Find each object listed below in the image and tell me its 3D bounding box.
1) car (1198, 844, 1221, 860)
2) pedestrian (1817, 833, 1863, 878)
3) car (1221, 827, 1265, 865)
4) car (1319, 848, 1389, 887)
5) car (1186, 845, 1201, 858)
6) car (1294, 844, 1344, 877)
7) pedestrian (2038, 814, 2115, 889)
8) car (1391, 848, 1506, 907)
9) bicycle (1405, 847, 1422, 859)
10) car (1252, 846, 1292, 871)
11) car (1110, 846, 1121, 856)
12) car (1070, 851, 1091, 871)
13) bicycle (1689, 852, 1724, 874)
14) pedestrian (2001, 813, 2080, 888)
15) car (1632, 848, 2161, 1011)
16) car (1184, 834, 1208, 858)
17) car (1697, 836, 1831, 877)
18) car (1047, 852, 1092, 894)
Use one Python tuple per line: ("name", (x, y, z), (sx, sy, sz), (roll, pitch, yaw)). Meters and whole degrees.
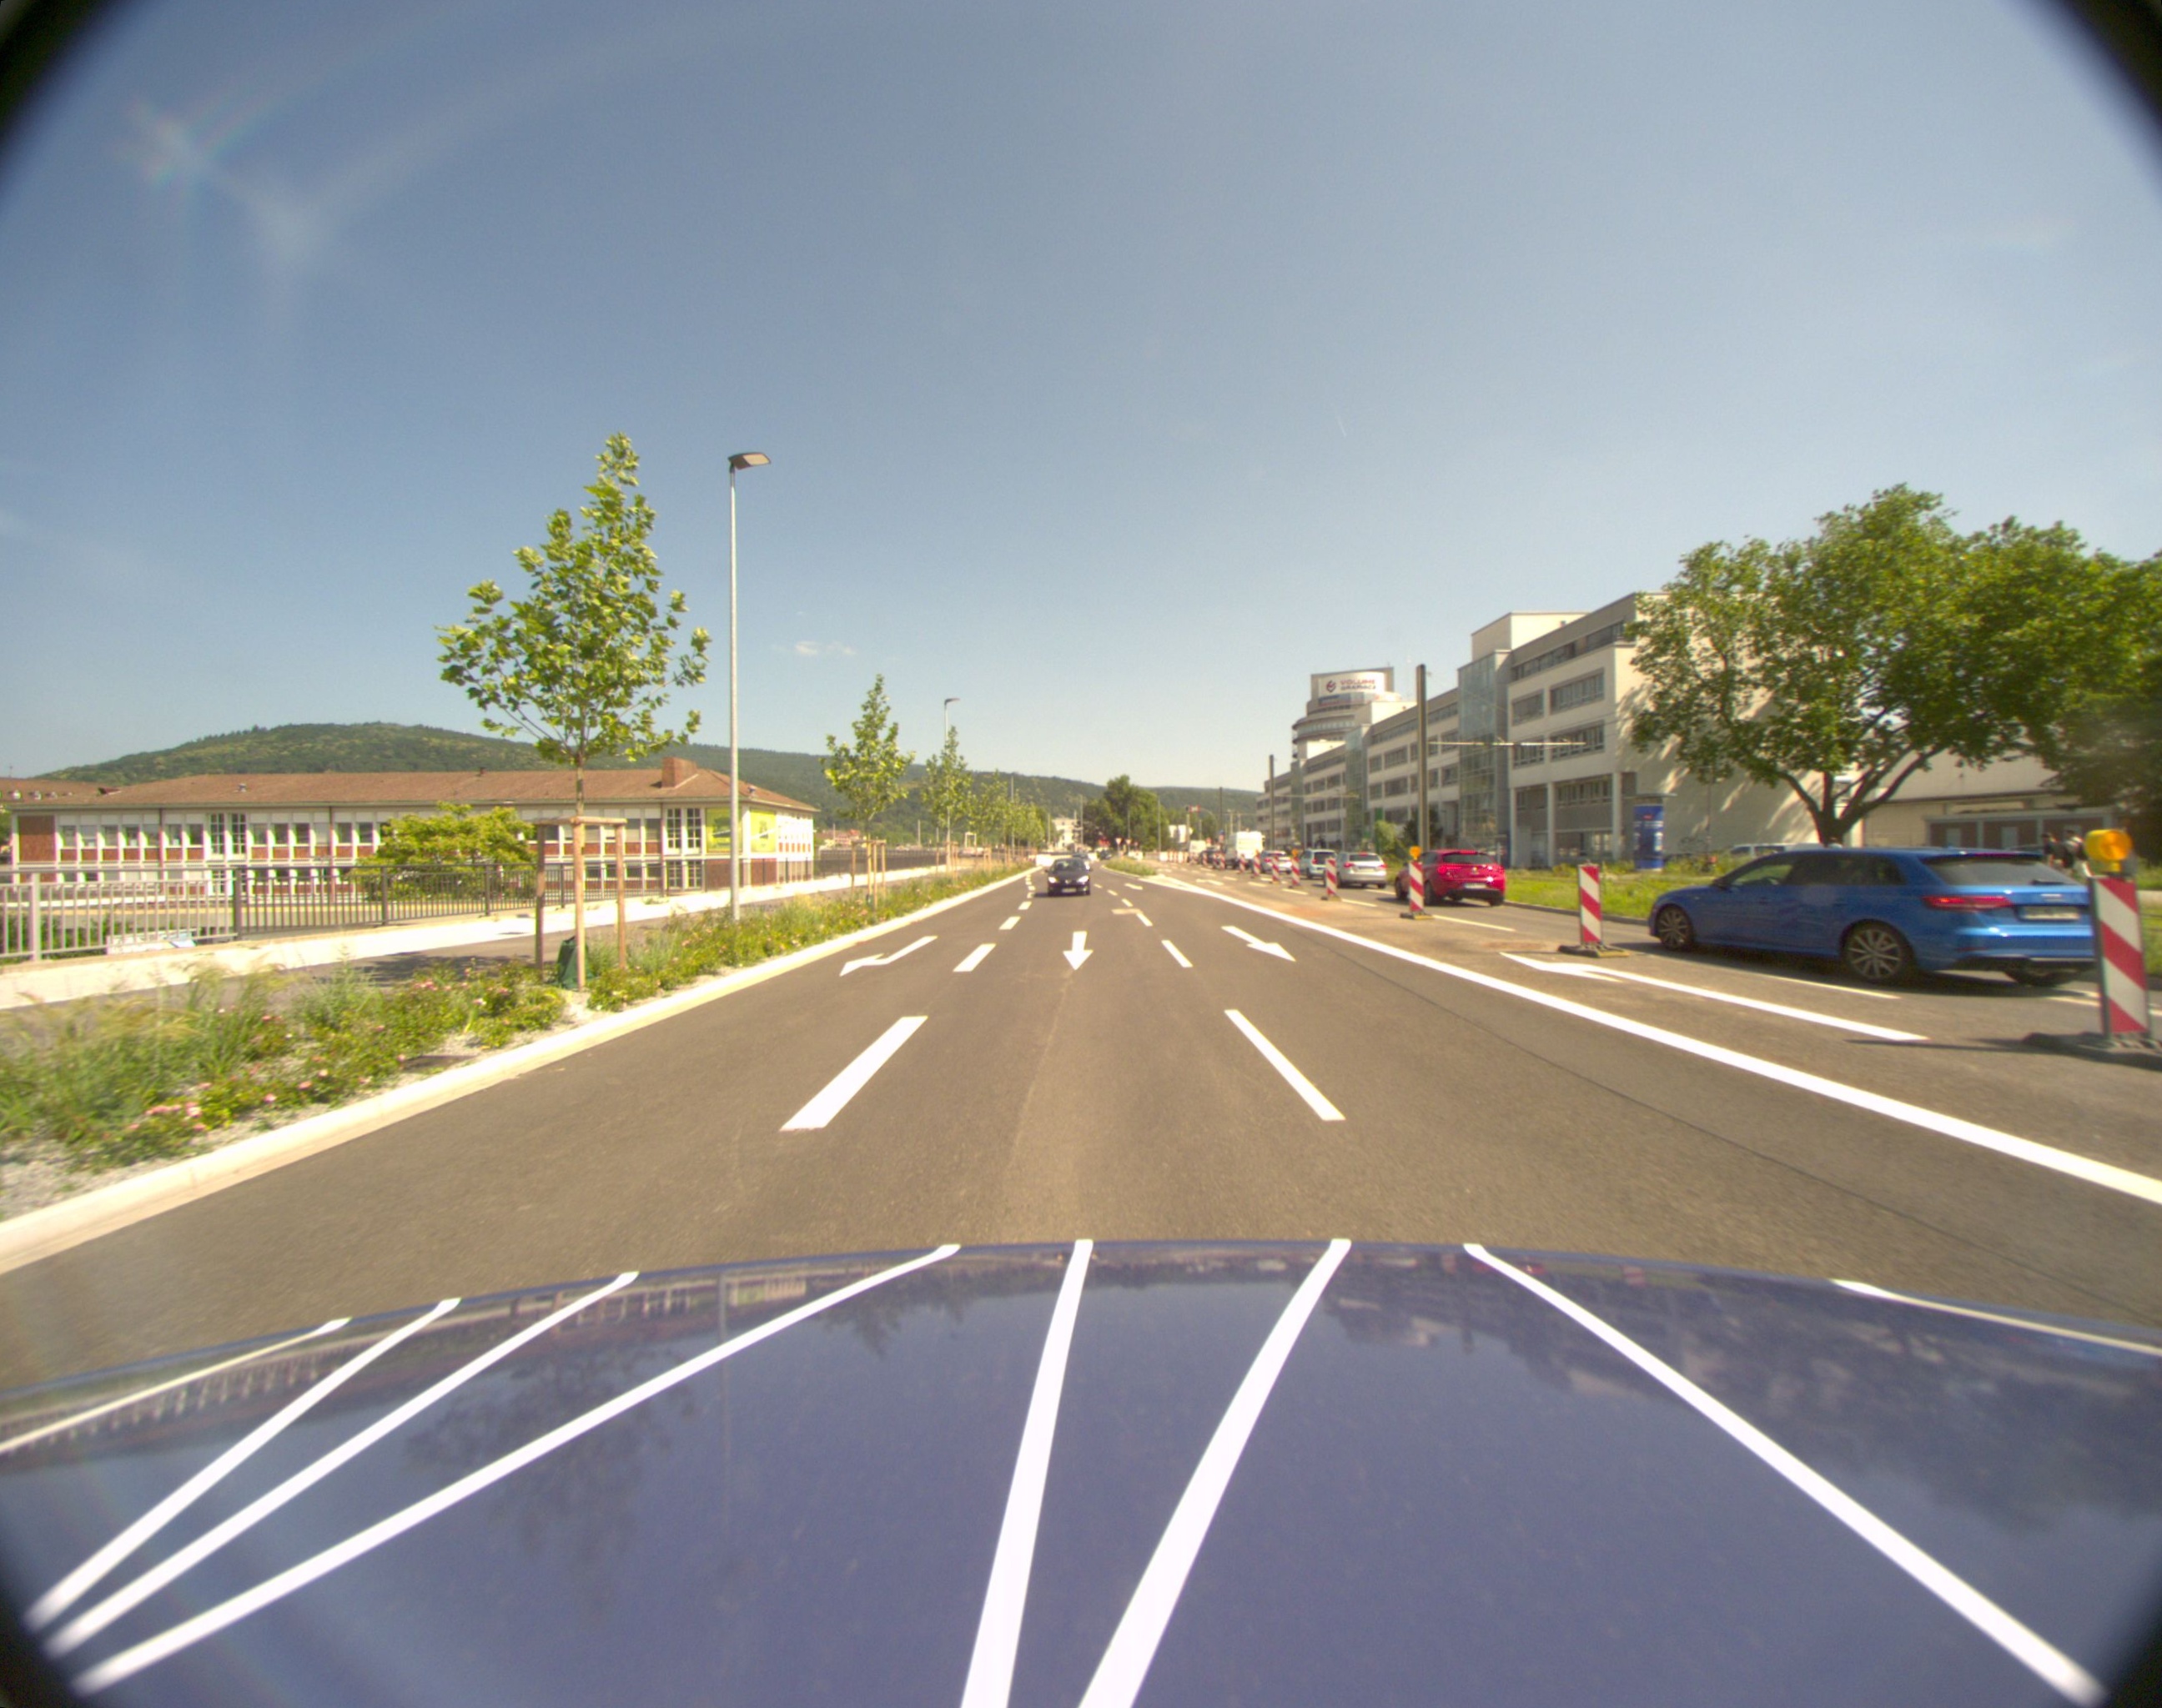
("car", (12.360, -0.249, 73.422), (1.549, 1.449, 4.192), (1, 1, 1))
("pedestrian", (27.554, 0.045, 27.602), (0.816, 1.567, 0.827), (-2, 1, 6))
("car", (12.229, -0.652, 57.726), (2.082, 2.724, 5.985), (1, 1, 1))
("car", (10.809, 0.468, 30.338), (1.583, 1.408, 4.297), (0, 1, 5))
("car", (14.475, -0.317, 97.888), (1.584, 1.532, 3.978), (1, 1, 3))
("car", (12.077, 0.285, 38.733), (1.583, 1.521, 3.621), (1, 1, 4))
("pedestrian", (27.517, -0.062, 21.022), (0.841, 2.002, 0.983), (-2, 1, 3))
("car", (9.776, 0.554, 20.553), (1.583, 1.408, 4.000), (0, 1, 7))
("bicycle", (37.154, -0.099, 84.877), (1.650, 1.182, 0.438), (-3, 1, 6))
("car", (11.918, 0.238, 47.662), (1.677, 1.435, 4.469), (1, 1, 4))
("car", (5.573, -0.446, 122.306), (1.618, 1.433, 3.767), (-3, 1, 2))
("car", (-0.028, 0.545, 62.304), (1.618, 1.433, 3.767), (-1, 1, 0))
("bicycle", (29.404, 0.420, 35.729), (0.461, 0.980, 1.557), (-1, 1, 4))
("pedestrian", (26.587, -0.107, 21.072), (0.985, 2.002, 0.910), (-2, 1, 3))
("car", (8.770, 0.651, 8.825), (1.632, 1.419, 4.289), (0, 1, 0))
("car", (13.191, -0.925, 87.461), (2.035, 2.564, 6.194), (1, 1, 2))
("car", (37.062, 0.142, 41.451), (5.063, 2.167, 2.117), (-1, 1, 27))
("car", (-0.434, 0.685, 29.593), (1.618, 1.433, 3.705), (-1, 1, -1))
